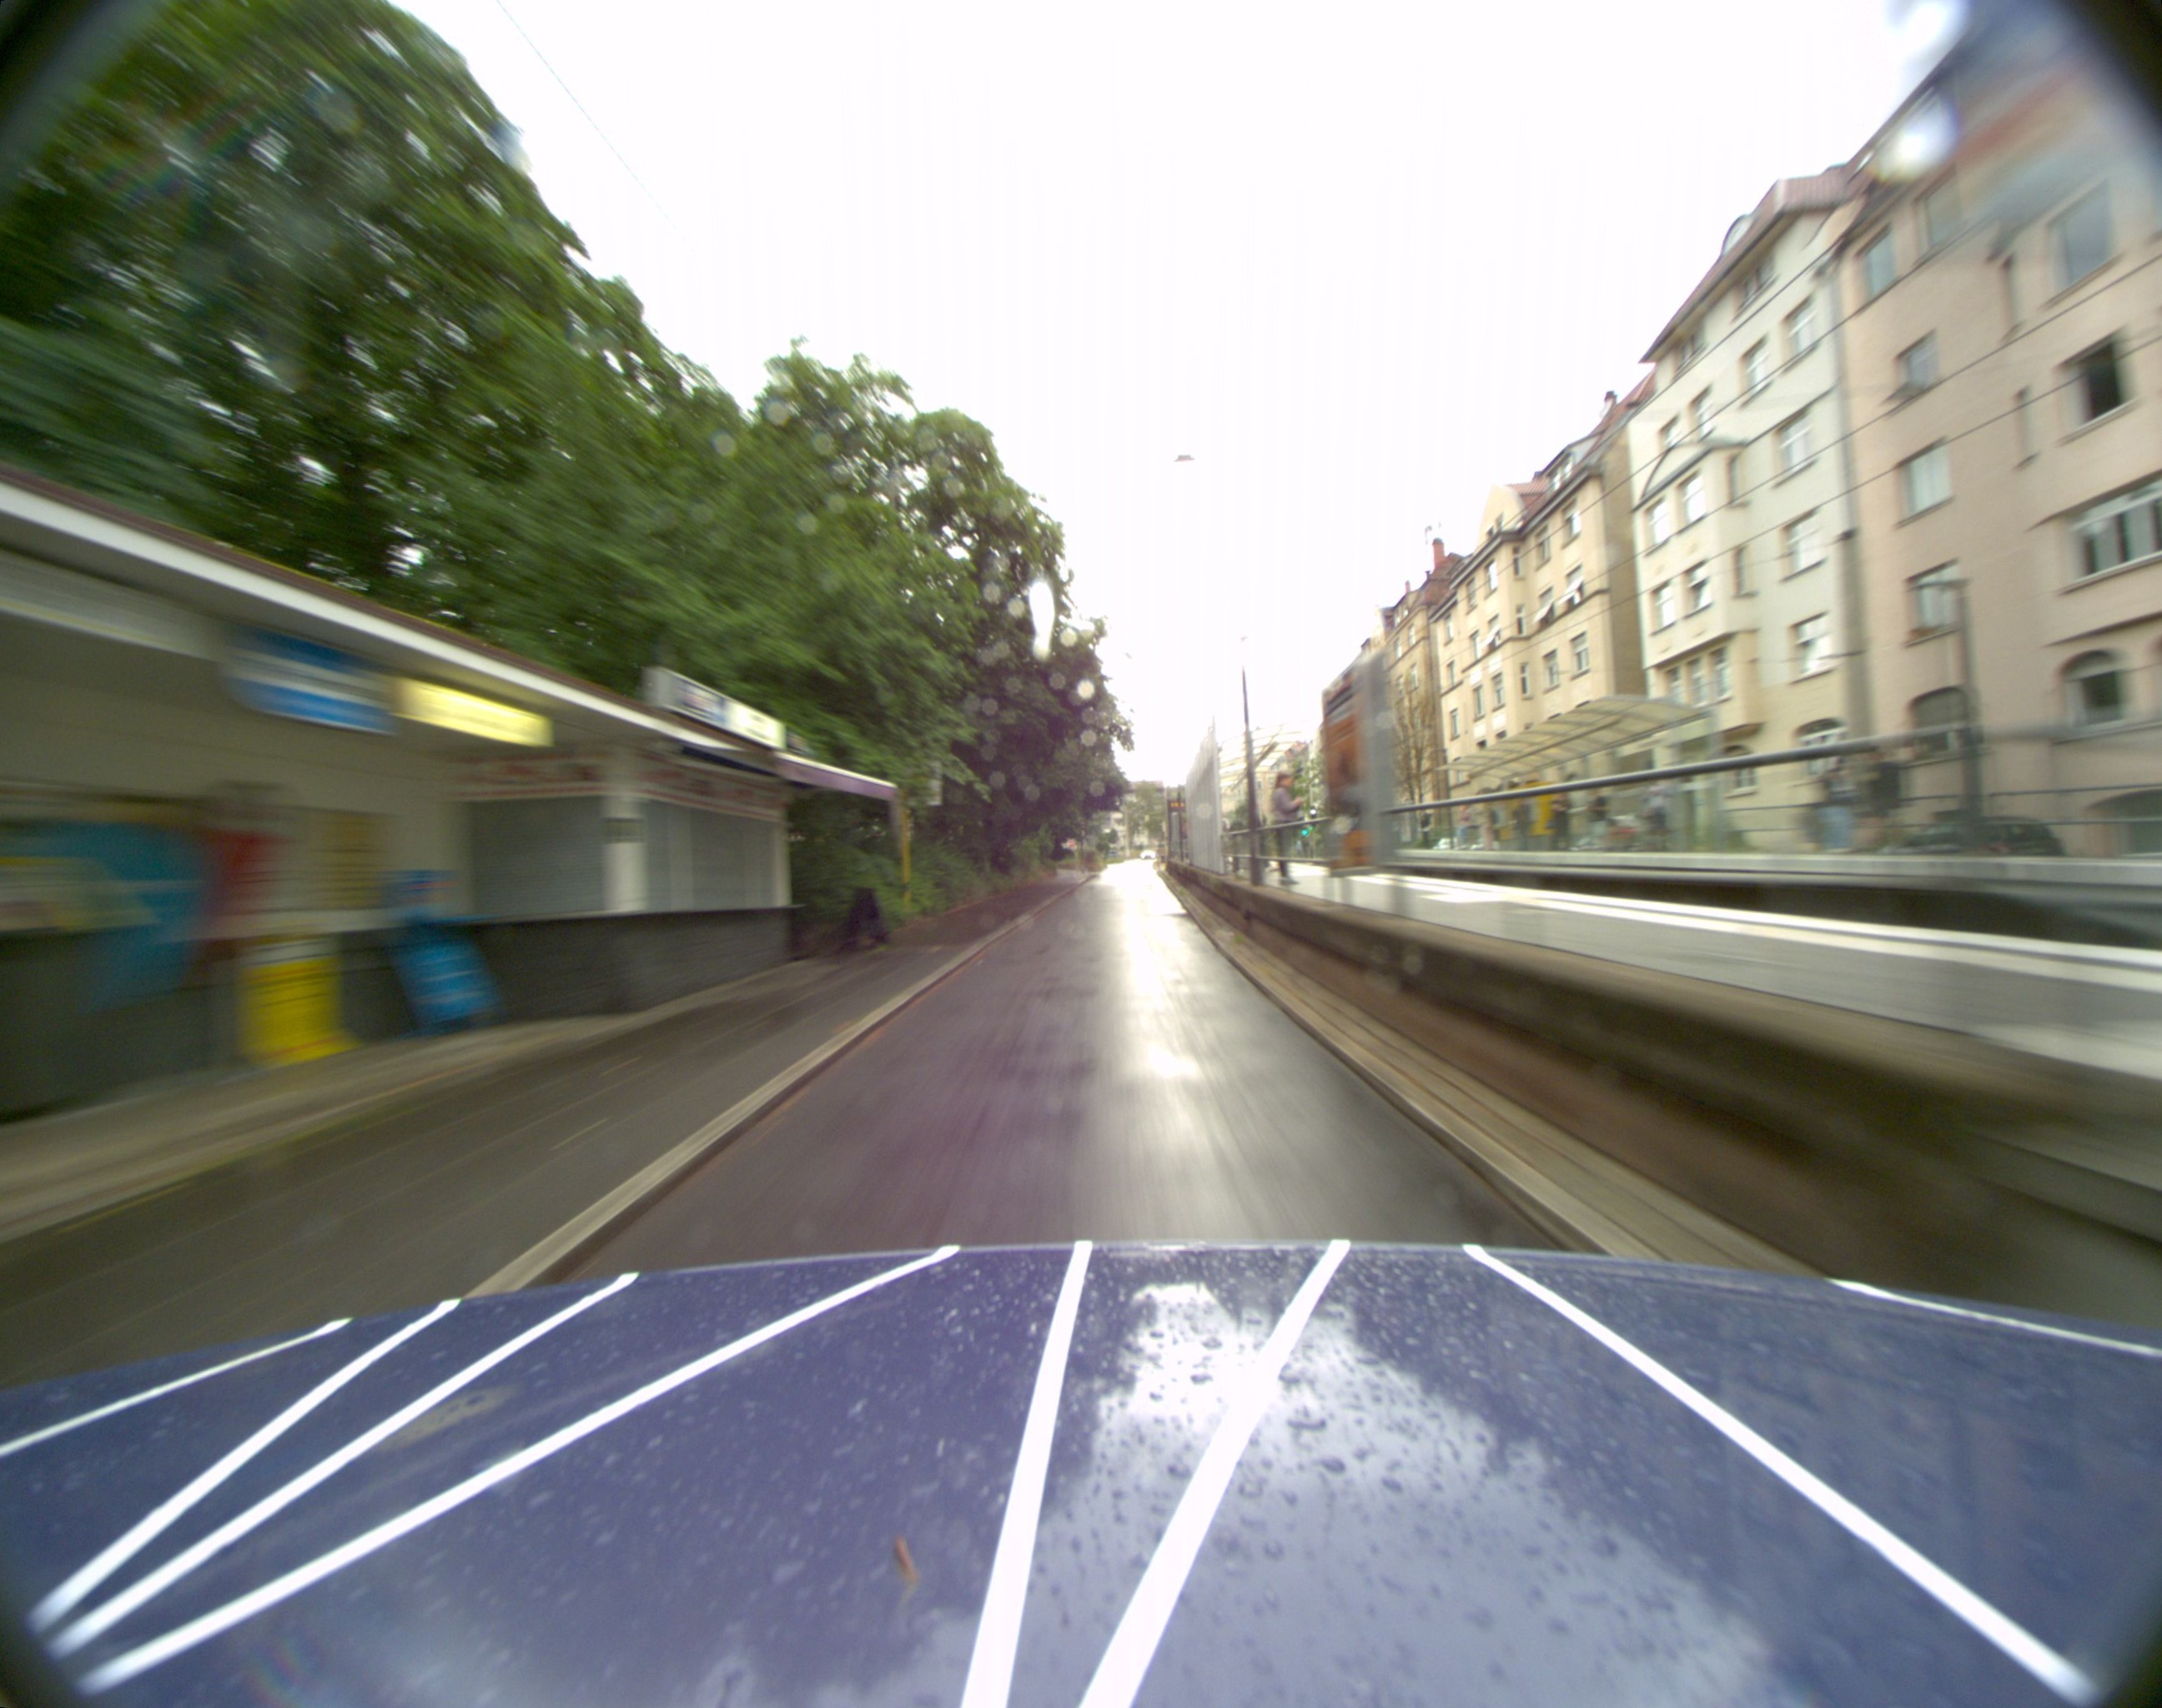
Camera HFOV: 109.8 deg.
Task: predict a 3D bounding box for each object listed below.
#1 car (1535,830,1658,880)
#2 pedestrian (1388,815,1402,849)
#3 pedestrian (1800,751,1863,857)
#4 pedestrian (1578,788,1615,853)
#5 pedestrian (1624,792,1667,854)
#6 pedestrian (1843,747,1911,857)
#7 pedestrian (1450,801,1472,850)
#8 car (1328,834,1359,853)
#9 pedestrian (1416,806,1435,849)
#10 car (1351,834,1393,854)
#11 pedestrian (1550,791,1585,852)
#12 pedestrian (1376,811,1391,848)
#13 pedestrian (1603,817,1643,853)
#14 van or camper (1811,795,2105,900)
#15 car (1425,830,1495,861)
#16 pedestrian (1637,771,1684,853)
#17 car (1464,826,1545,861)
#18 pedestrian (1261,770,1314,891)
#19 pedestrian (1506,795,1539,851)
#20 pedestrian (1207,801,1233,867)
[{"bbox_3d":[19.760,-0.027,29.419,1.997,1.722,4.815,-1,2,7],"label":"car"},{"bbox_3d":[15.218,-1.071,36.821,0.517,1.596,0.563,-1,2,4],"label":"pedestrian"},{"bbox_3d":[12.706,-0.832,12.876,0.483,1.731,0.563,-1,2,4],"label":"pedestrian"},{"bbox_3d":[13.306,-0.858,19.636,0.551,1.656,0.614,-1,2,4],"label":"pedestrian"},{"bbox_3d":[13.070,-0.713,17.596,0.551,1.405,0.614,-1,2,4],"label":"pedestrian"},{"bbox_3d":[12.842,-0.822,12.274,0.483,1.731,0.563,-1,2,4],"label":"pedestrian"},{"bbox_3d":[14.494,-1.069,29.010,0.517,1.827,0.762,-1,2,4],"label":"pedestrian"},{"bbox_3d":[23.858,-0.962,69.184,1.634,1.538,4.176,-2,1,5],"label":"car"},{"bbox_3d":[14.736,-1.138,32.542,0.517,1.827,0.762,-1,2,4],"label":"pedestrian"},{"bbox_3d":[22.798,-0.770,59.721,1.721,1.434,4.869,-2,1,4],"label":"car"},{"bbox_3d":[13.289,-0.879,20.769,0.595,1.656,0.591,-1,2,4],"label":"pedestrian"},{"bbox_3d":[14.902,-1.199,37.421,0.562,1.839,0.599,-1,2,4],"label":"pedestrian"},{"bbox_3d":[13.178,-0.462,18.496,0.551,0.867,0.614,-1,1,4],"label":"pedestrian"},{"bbox_3d":[18.942,-0.132,16.759,1.998,2.002,4.001,-1,0,4],"label":"van or camper"},{"bbox_3d":[21.602,-0.527,43.529,1.998,1.524,4.532,-4,2,5],"label":"car"},{"bbox_3d":[12.486,-0.894,16.380,0.551,1.731,0.614,-1,2,4],"label":"pedestrian"},{"bbox_3d":[21.007,-0.524,37.926,1.927,1.613,4.537,-1,1,6],"label":"car"},{"bbox_3d":[3.210,-0.361,11.848,0.591,1.797,0.661,-3,1,3],"label":"pedestrian"},{"bbox_3d":[13.412,-0.925,23.116,0.595,1.656,0.762,-1,2,4],"label":"pedestrian"},{"bbox_3d":[4.031,-0.574,22.069,0.591,1.870,0.711,-3,1,3],"label":"pedestrian"}]
